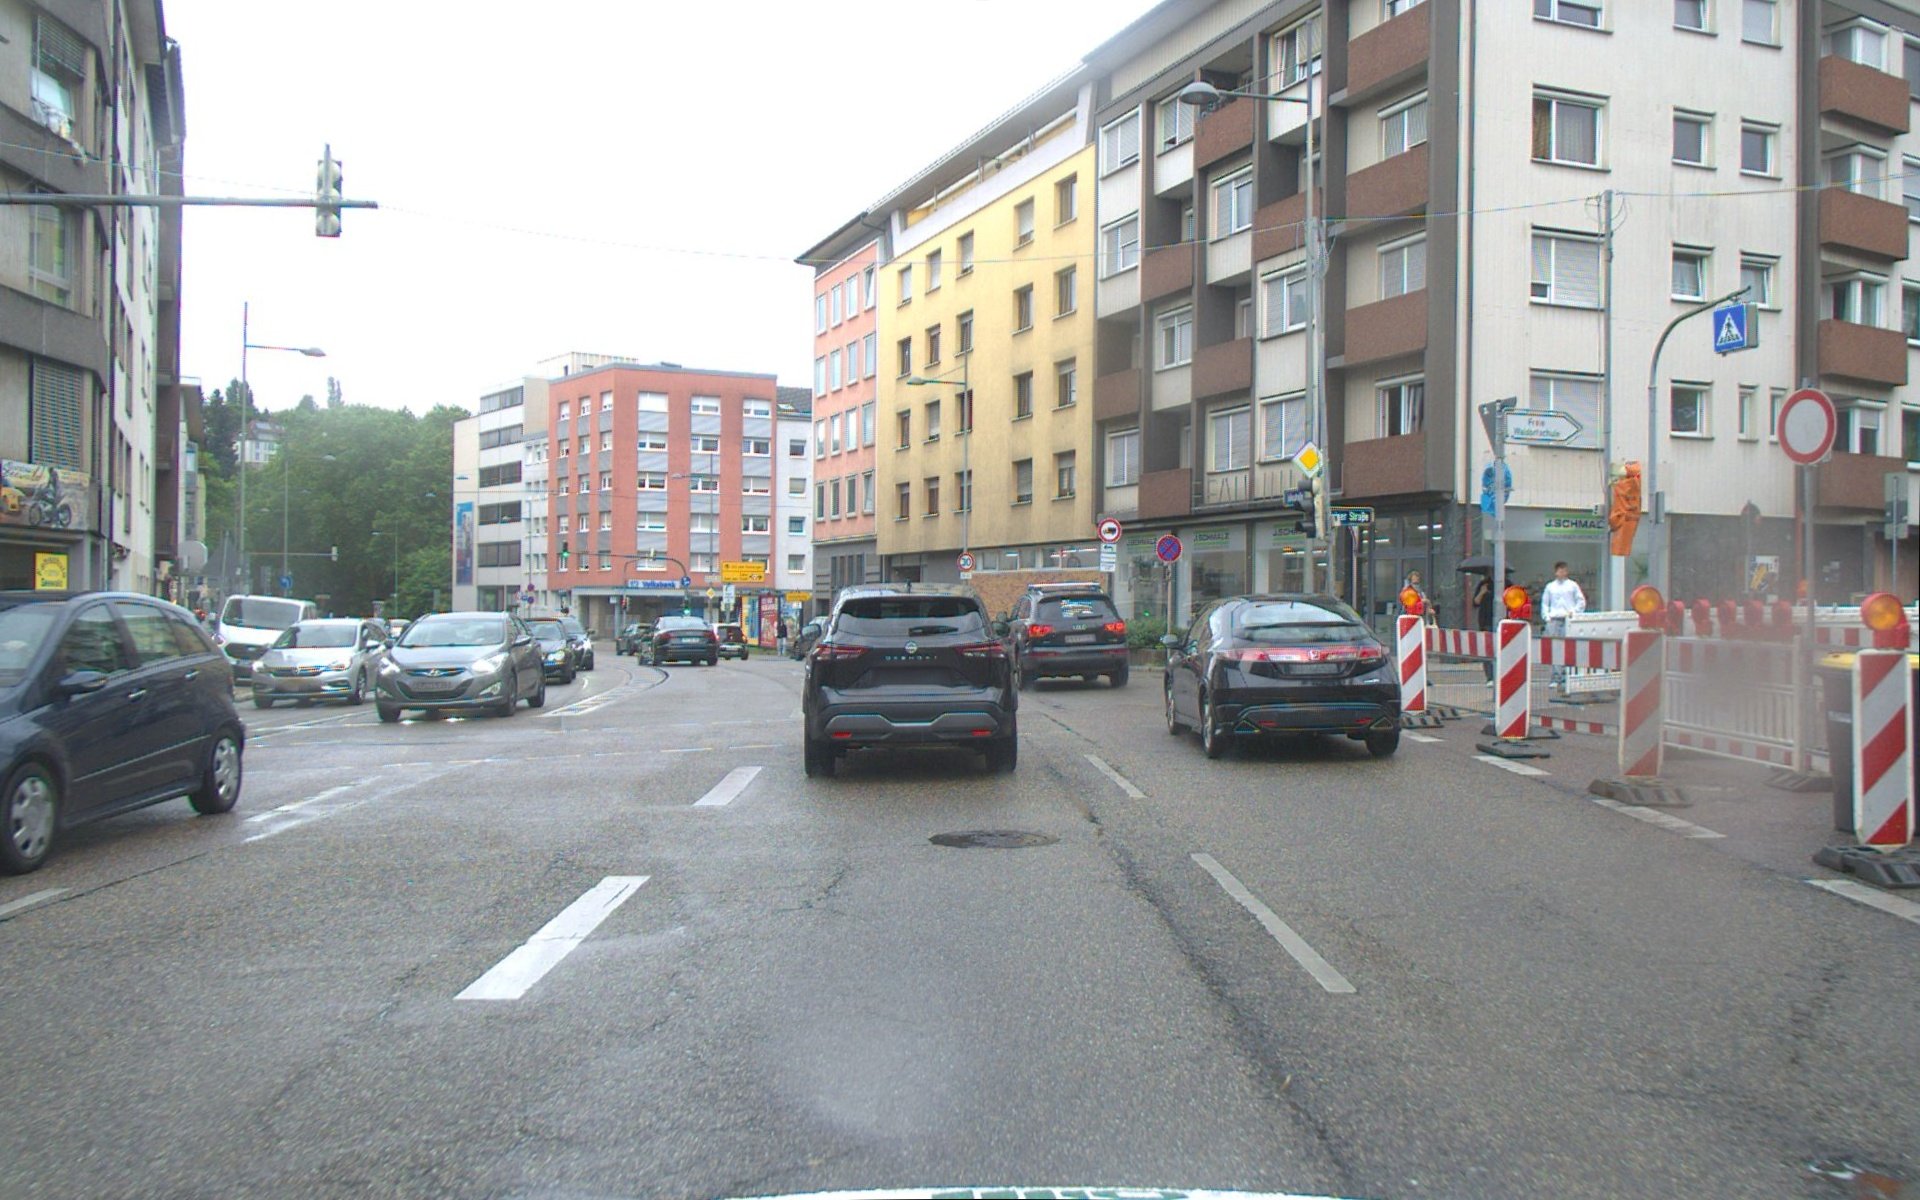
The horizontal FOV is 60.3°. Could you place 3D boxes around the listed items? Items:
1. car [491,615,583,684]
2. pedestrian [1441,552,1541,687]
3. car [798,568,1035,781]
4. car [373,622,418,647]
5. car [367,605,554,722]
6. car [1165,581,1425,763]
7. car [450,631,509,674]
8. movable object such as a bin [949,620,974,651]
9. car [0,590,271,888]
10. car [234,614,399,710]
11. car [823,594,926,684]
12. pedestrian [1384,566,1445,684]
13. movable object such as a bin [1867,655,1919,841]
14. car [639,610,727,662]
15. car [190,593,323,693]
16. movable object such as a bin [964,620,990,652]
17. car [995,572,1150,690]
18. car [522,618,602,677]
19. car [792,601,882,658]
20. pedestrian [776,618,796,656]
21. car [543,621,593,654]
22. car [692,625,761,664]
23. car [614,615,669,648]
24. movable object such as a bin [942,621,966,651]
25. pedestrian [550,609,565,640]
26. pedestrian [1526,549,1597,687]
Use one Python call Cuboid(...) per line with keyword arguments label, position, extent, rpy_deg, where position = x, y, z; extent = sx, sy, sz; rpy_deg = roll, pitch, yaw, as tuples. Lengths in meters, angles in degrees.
Cuboid(label="car", position=(-9.283, 1.066, 36.545), extent=(1.793, 1.390, 4.588), rpy_deg=(-1, -1, -13))
Cuboid(label="pedestrian", position=(7.682, 0.287, 23.935), extent=(0.912, 1.894, 1.015), rpy_deg=(0, -3, -44))
Cuboid(label="car", position=(-0.439, 0.616, 15.074), extent=(1.857, 1.657, 3.997), rpy_deg=(-1, -1, -3))
Cuboid(label="car", position=(-36.443, 2.214, 106.688), extent=(1.915, 1.553, 4.090), rpy_deg=(0, -1, -31))
Cuboid(label="car", position=(-7.132, 0.850, 24.065), extent=(1.818, 1.500, 4.640), rpy_deg=(-1, 0, -7))
Cuboid(label="car", position=(3.115, 0.625, 16.190), extent=(1.747, 1.523, 4.056), rpy_deg=(-1, 0, 1))
Cuboid(label="car", position=(-18.416, 1.987, 63.290), extent=(1.661, 1.498, 3.971), rpy_deg=(-2, 0, -23))
Cuboid(label="movable object such as a bin", position=(0.052, 1.281, 59.018), extent=(0.672, 1.095, 0.663), rpy_deg=(0, -1, -24))
Cuboid(label="car", position=(-6.065, 0.745, 10.467), extent=(1.793, 1.570, 4.281), rpy_deg=(-1, 0, -3))
Cuboid(label="car", position=(-11.405, 1.050, 29.643), extent=(1.894, 1.500, 4.591), rpy_deg=(-2, 0, -11))
Cuboid(label="car", position=(-1.844, 0.777, 34.478), extent=(1.908, 1.714, 3.995), rpy_deg=(-2, 0, -6))
Cuboid(label="pedestrian", position=(6.862, 0.385, 25.004), extent=(0.775, 1.718, 0.822), rpy_deg=(-2, -2, 12))
Cuboid(label="movable object such as a bin", position=(5.877, 0.868, 9.874), extent=(0.608, 1.049, 0.531), rpy_deg=(-1, 1, -4))
Cuboid(label="car", position=(-8.208, 1.031, 48.781), extent=(1.962, 1.412, 4.478), rpy_deg=(2, -1, -17))
Cuboid(label="car", position=(-15.958, 1.014, 37.780), extent=(2.084, 2.050, 5.105), rpy_deg=(3, -3, -16))
Cuboid(label="movable object such as a bin", position=(0.596, 1.256, 57.766), extent=(0.672, 1.095, 0.663), rpy_deg=(0, -1, -24))
Cuboid(label="car", position=(1.925, 0.530, 29.907), extent=(1.982, 1.902, 4.893), rpy_deg=(-2, 0, -6))
Cuboid(label="car", position=(-11.030, 1.269, 45.636), extent=(1.952, 1.485, 4.465), rpy_deg=(-2, 0, -16))
Cuboid(label="car", position=(-4.291, 0.999, 57.128), extent=(1.919, 1.848, 3.972), rpy_deg=(-2, 0, -23))
Cuboid(label="pedestrian", position=(-8.418, 1.769, 79.878), extent=(0.663, 1.819, 1.088), rpy_deg=(1, -1, -21))
Cuboid(label="car", position=(-20.394, 1.942, 85.923), extent=(1.965, 1.557, 3.974), rpy_deg=(3, -1, -21))
Cuboid(label="car", position=(-10.078, 1.894, 71.151), extent=(1.967, 1.512, 3.971), rpy_deg=(3, -1, -23))
Cuboid(label="car", position=(-16.233, 1.593, 84.105), extent=(1.966, 1.545, 3.972), rpy_deg=(3, -1, -22))
Cuboid(label="movable object such as a bin", position=(-0.217, 1.293, 59.638), extent=(0.672, 1.095, 0.663), rpy_deg=(0, -1, -24))
Cuboid(label="pedestrian", position=(-28.946, 1.728, 118.848), extent=(0.815, 2.196, 0.763), rpy_deg=(3, -2, -26))
Cuboid(label="pedestrian", position=(8.543, 0.261, 23.491), extent=(0.644, 1.912, 0.990), rpy_deg=(-3, -3, 36))
